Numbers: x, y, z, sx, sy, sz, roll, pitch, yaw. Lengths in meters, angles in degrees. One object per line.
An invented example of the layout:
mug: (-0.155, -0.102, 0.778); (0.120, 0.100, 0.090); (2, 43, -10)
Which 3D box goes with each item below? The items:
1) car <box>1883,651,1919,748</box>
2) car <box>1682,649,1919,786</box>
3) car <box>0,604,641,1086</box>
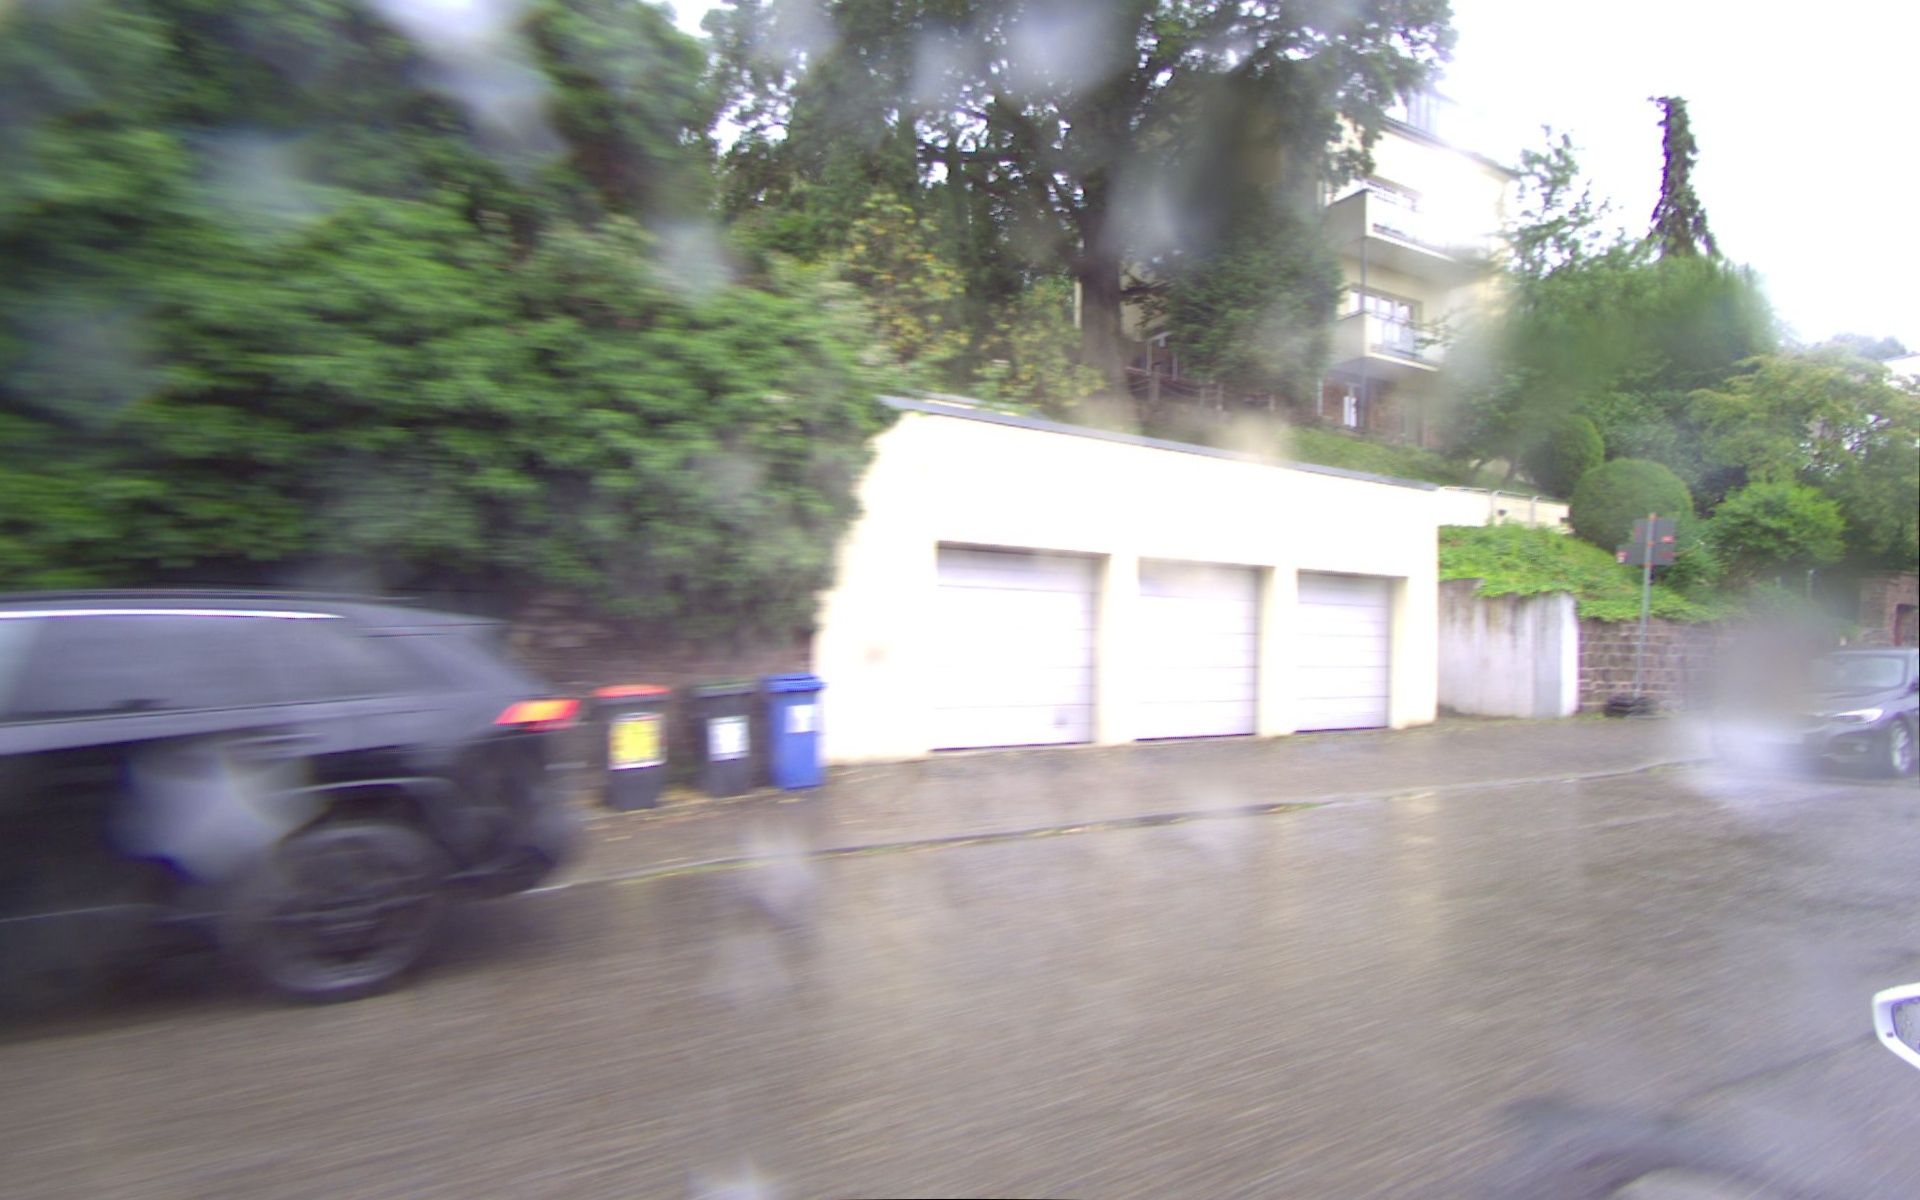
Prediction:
car: (16.347, 1.512, 15.532); (4.165, 1.433, 1.778); (1, -3, -28)
car: (11.477, 1.377, 12.896); (4.699, 1.474, 1.778); (1, -4, -30)
car: (-3.855, 0.894, 4.223); (4.537, 1.647, 1.867); (1, -4, -29)
